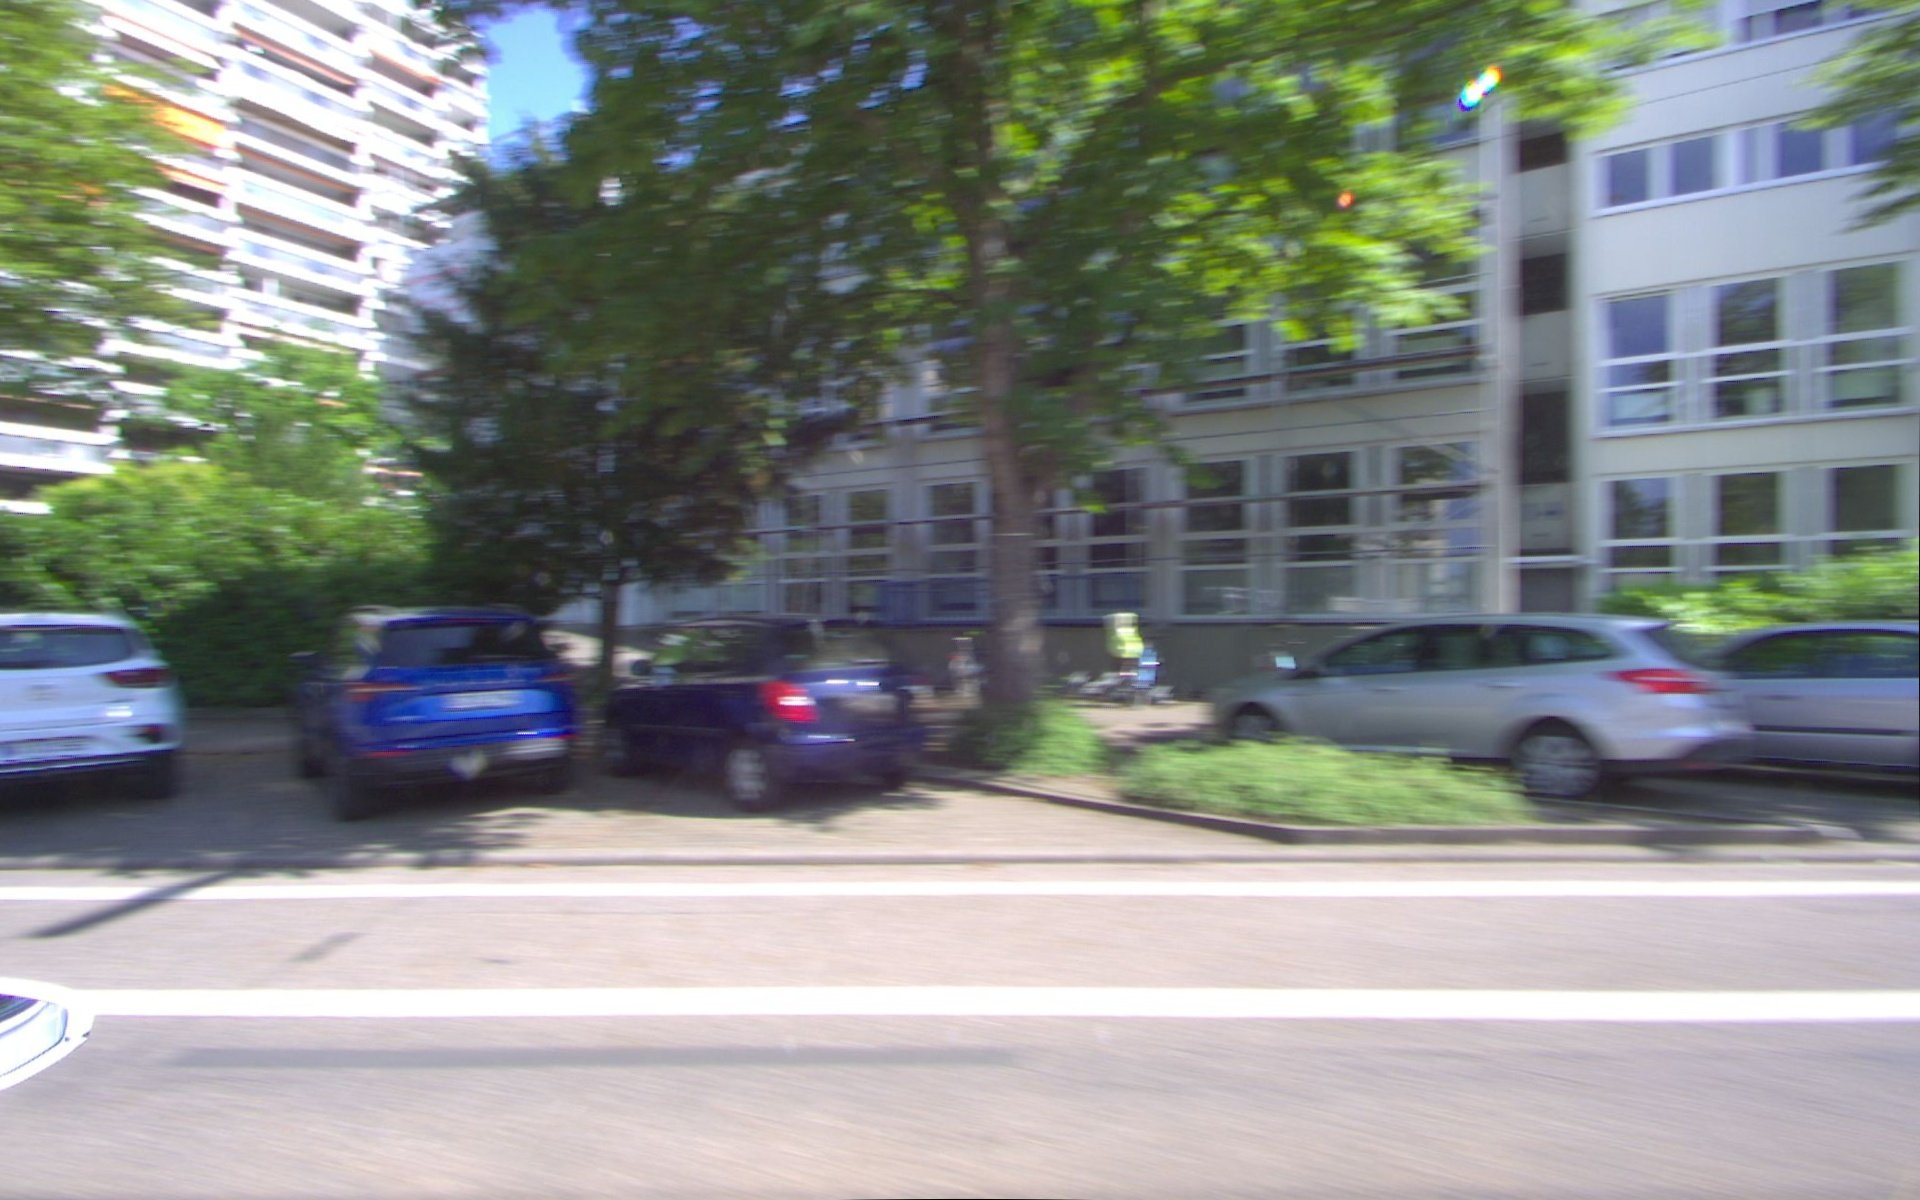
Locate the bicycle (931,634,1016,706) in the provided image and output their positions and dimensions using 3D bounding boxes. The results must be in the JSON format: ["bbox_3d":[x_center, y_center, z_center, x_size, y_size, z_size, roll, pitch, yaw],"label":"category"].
[{"bbox_3d":[0.262,1.125,16.718,0.730,1.100,2.199,-1,-1,20],"label":"bicycle"}]

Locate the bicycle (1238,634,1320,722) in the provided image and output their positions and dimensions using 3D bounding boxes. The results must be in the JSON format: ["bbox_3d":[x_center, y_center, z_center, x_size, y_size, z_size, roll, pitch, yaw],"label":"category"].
[{"bbox_3d":[4.799,1.120,14.983,0.654,1.204,2.079,-1,-1,33],"label":"bicycle"}]

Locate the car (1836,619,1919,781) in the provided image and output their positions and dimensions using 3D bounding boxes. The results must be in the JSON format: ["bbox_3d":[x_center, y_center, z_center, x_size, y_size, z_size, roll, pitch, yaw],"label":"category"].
[{"bbox_3d":[10.461,0.889,8.852,1.596,1.505,3.911,0,-2,-42],"label":"car"}]

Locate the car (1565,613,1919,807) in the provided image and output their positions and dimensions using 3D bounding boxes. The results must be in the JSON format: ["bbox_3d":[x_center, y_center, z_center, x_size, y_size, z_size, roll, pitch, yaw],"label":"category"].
[{"bbox_3d":[7.716,0.875,8.713,1.596,1.505,3.911,0,-1,-41],"label":"car"}]

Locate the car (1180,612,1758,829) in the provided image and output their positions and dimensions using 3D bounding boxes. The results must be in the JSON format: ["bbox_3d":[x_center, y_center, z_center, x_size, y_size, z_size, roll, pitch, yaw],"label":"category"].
[{"bbox_3d":[4.361,0.890,9.156,1.766,1.505,4.394,1,-1,-43],"label":"car"}]

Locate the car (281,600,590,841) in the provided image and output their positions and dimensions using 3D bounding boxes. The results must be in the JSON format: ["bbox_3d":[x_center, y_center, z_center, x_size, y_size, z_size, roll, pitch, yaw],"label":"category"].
[{"bbox_3d":[-4.854,0.828,8.987,1.760,1.644,3.913,-1,1,-38],"label":"car"}]

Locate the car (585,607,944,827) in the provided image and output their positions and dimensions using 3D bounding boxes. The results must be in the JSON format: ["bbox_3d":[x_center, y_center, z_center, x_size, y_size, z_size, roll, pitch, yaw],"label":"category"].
[{"bbox_3d":[-1.854,0.868,8.846,1.561,1.551,3.426,0,-1,-43],"label":"car"}]

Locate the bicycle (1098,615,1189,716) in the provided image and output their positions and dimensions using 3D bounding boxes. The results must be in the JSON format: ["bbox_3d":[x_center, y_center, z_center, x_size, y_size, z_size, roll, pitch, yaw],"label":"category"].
[{"bbox_3d":[2.909,0.979,15.682,0.654,1.472,2.079,-1,-1,33],"label":"bicycle"}]

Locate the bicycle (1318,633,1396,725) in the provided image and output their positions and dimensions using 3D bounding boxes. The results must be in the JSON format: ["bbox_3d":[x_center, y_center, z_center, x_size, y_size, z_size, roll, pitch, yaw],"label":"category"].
[{"bbox_3d":[5.773,1.096,14.484,0.654,1.204,2.079,-1,-1,33],"label":"bicycle"}]

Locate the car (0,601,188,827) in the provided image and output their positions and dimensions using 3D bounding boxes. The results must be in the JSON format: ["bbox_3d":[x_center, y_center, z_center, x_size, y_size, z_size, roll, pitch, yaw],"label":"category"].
[{"bbox_3d":[-8.283,0.880,8.851,1.802,1.628,3.906,-3,1,-45],"label":"car"}]
